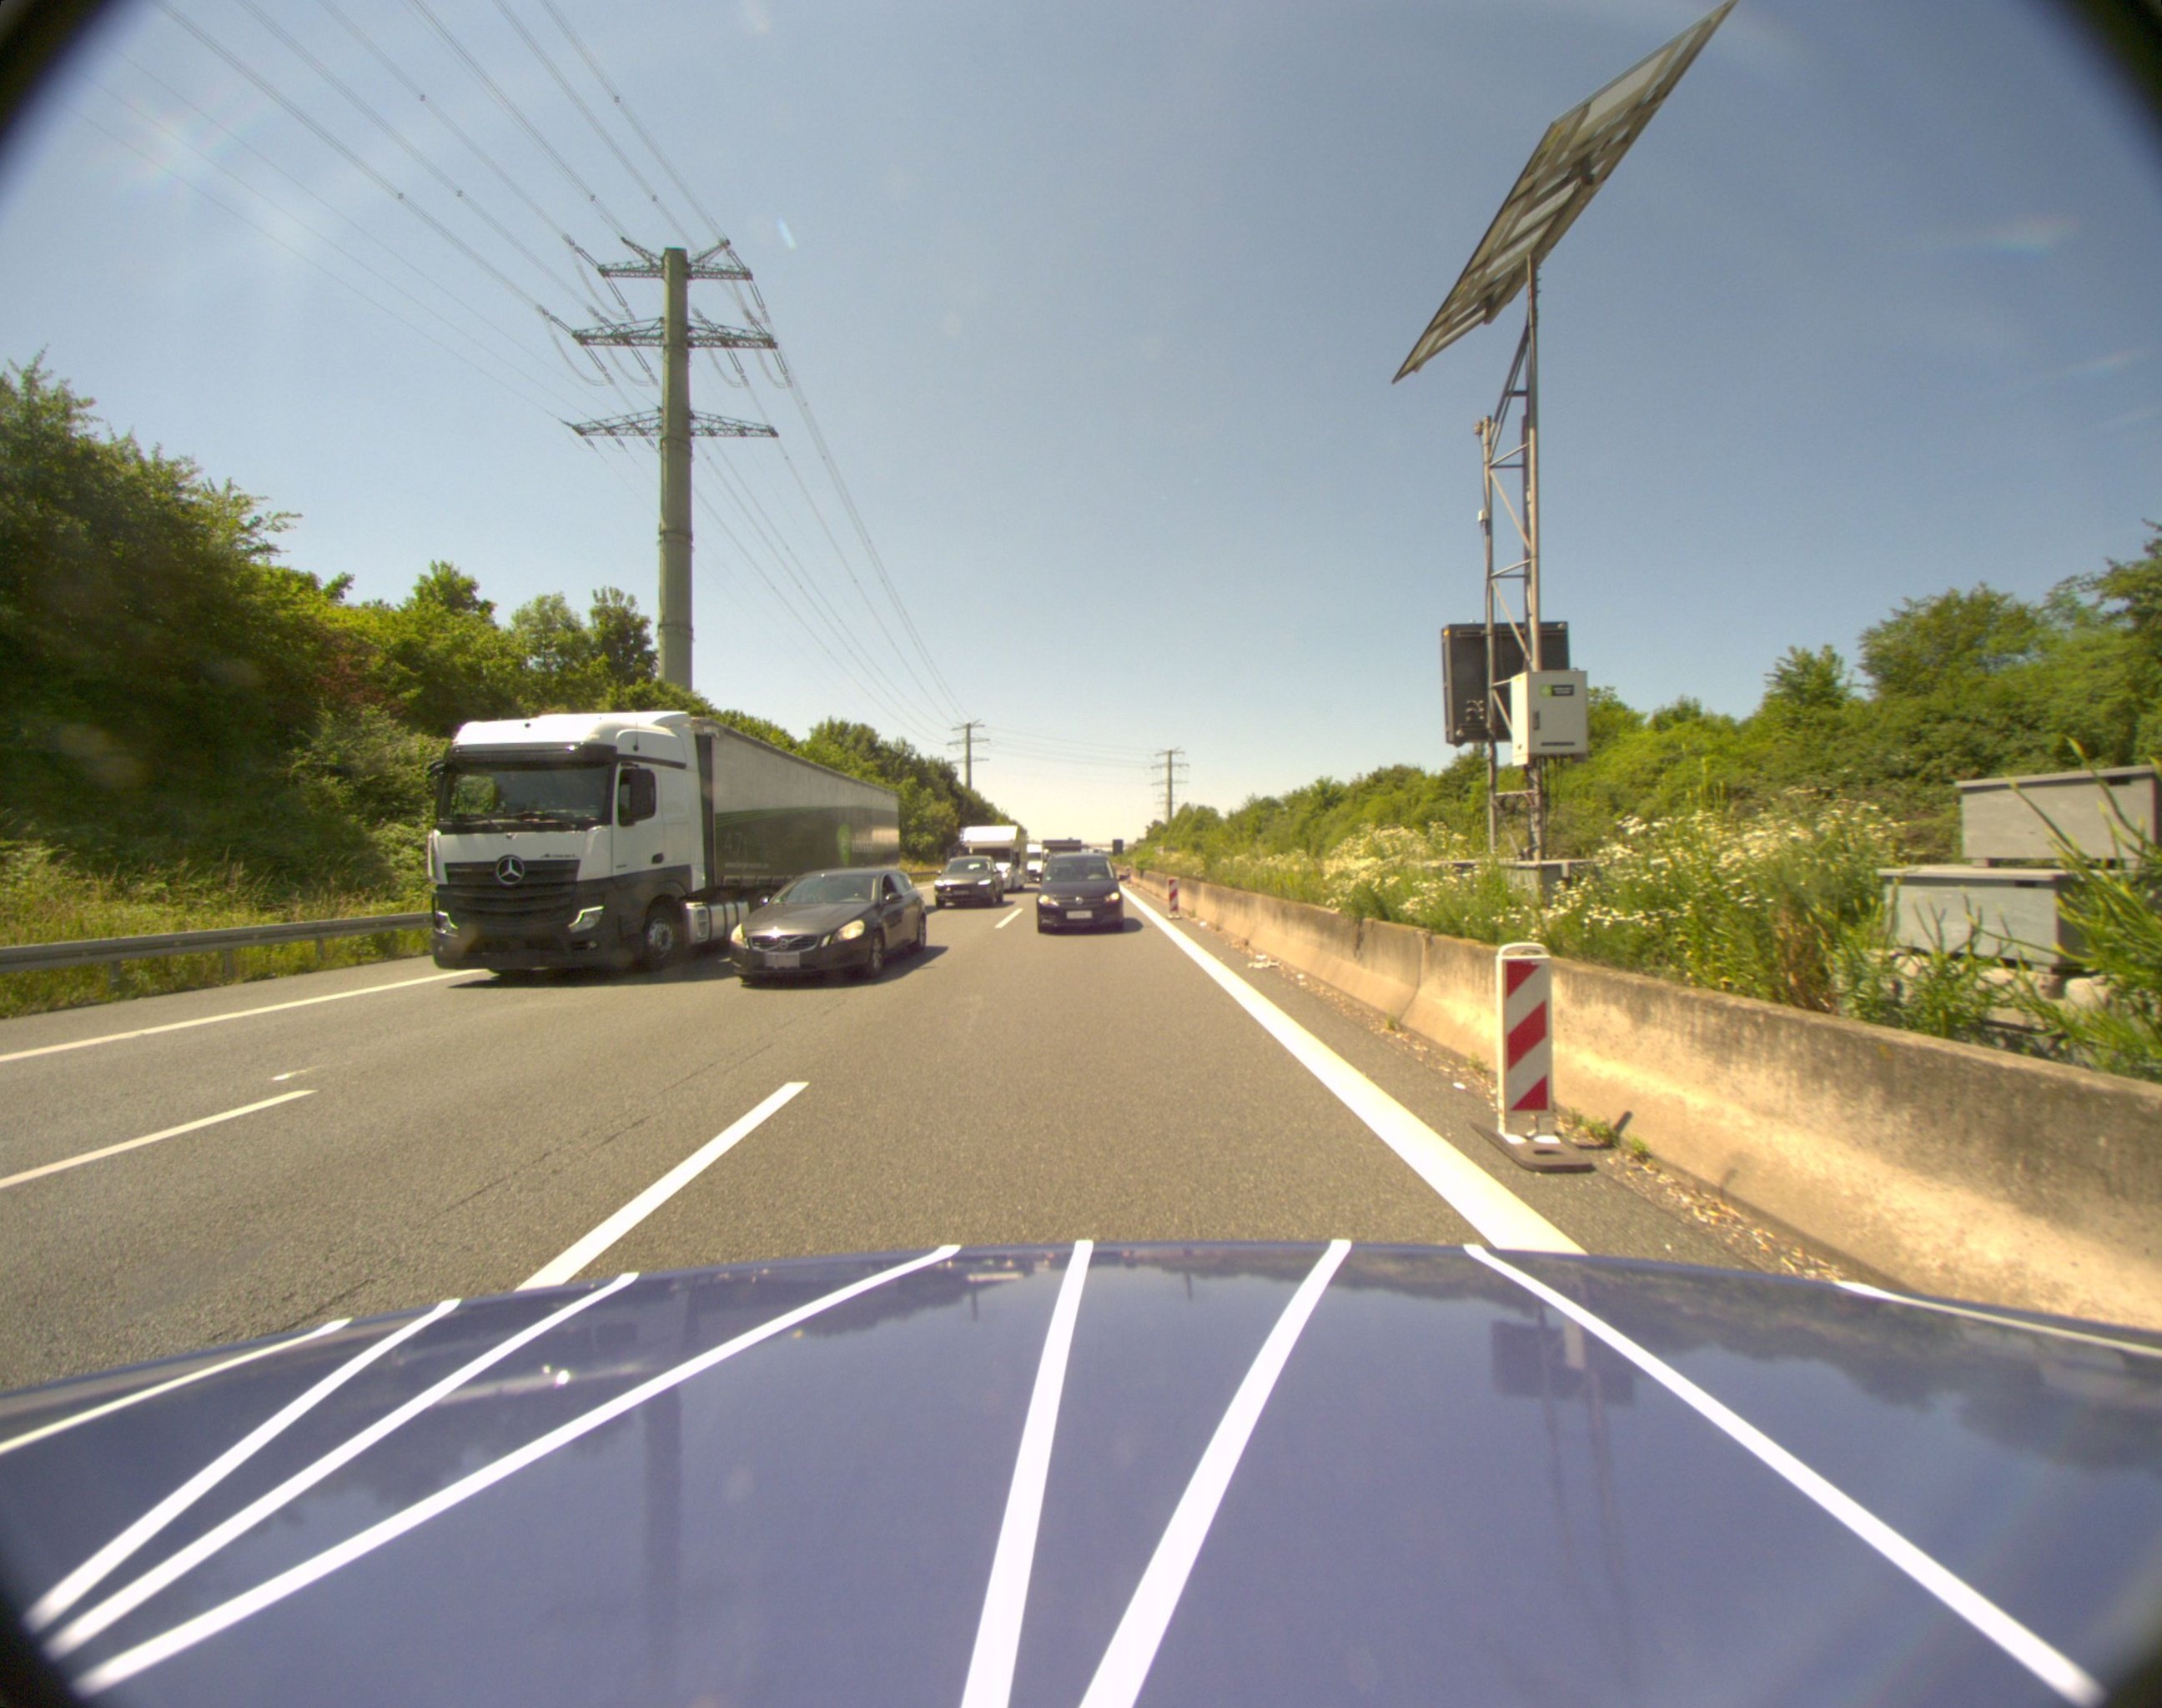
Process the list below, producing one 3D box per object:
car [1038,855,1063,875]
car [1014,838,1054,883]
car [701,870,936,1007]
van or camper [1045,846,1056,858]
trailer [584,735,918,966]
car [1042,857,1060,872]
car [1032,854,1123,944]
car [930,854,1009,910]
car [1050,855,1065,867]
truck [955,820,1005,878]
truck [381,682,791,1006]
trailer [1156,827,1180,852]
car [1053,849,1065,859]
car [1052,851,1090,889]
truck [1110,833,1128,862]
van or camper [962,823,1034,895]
[{"bbox_3d":[-2.407,0.857,61.026,1.720,1.510,3.874,-2,1,1],"label":"car"},{"bbox_3d":[-3.048,0.378,50.591,2.042,2.703,6.705,-2,1,1],"label":"car"},{"bbox_3d":[-3.529,1.051,11.235,1.799,1.411,4.509,-2,1,1],"label":"car"},{"bbox_3d":[-6.662,-0.527,166.844,1.978,2.511,4.369,-2,1,1],"label":"van or camper"},{"bbox_3d":[-7.292,-0.112,20.133,2.790,4.024,13.110,-2,1,1],"label":"trailer"},{"bbox_3d":[-3.308,1.112,84.709,1.720,1.510,3.874,-2,1,1],"label":"car"},{"bbox_3d":[-0.034,0.871,16.740,1.700,1.641,4.220,-2,1,1],"label":"car"},{"bbox_3d":[-3.612,0.863,25.355,1.893,1.602,4.220,-2,1,1],"label":"car"},{"bbox_3d":[-3.144,0.889,101.447,1.720,1.510,3.874,-2,1,1],"label":"car"},{"bbox_3d":[-7.669,-0.369,58.178,2.792,4.121,5.636,-2,1,1],"label":"truck"},{"bbox_3d":[-7.414,-0.146,12.586,2.740,4.024,5.793,-2,1,1],"label":"truck"},{"bbox_3d":[16.179,-2.661,142.522,2.967,4.378,12.905,-2,1,1],"label":"trailer"},{"bbox_3d":[-3.581,0.026,126.700,1.720,1.510,3.874,-2,1,1],"label":"car"},{"bbox_3d":[-0.422,0.743,37.370,1.700,1.641,4.220,-2,1,1],"label":"car"},{"bbox_3d":[4.449,-0.772,90.419,1.892,3.263,5.590,-2,1,1],"label":"truck"},{"bbox_3d":[-3.814,0.190,36.609,2.375,3.026,7.632,-2,1,1],"label":"van or camper"}]
